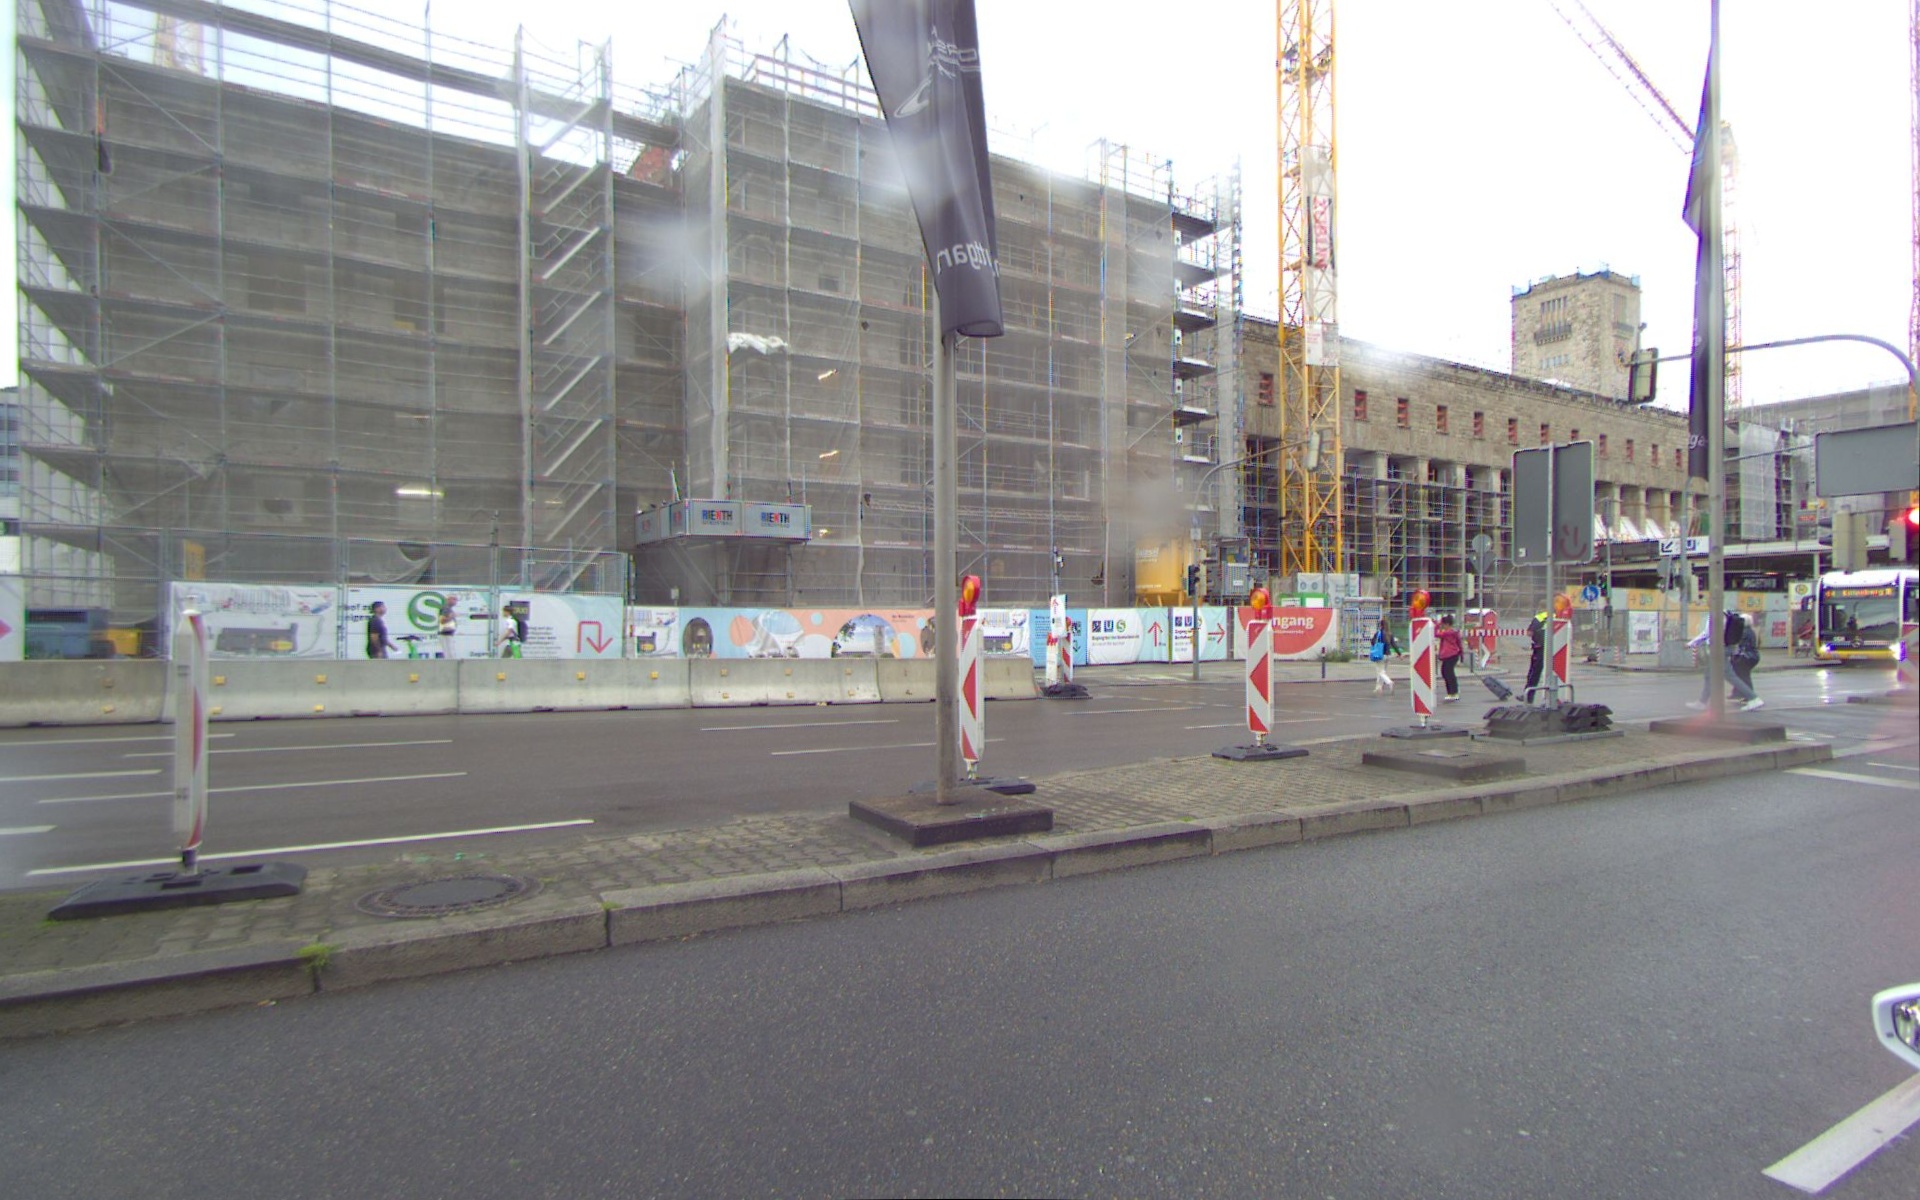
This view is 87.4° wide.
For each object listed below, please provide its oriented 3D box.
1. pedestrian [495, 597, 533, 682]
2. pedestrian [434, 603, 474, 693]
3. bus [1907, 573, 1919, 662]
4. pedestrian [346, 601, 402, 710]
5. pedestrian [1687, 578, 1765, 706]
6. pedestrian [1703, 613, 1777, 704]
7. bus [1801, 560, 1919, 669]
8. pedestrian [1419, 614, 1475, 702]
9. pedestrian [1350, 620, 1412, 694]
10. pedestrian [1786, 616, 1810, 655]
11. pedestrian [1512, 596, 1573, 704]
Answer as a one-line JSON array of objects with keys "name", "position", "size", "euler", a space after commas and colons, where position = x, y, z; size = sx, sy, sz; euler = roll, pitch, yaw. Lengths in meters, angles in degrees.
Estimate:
[{"name": "pedestrian", "position": [-10.032, 0.880, 22.588], "size": [0.709, 1.860, 0.478], "euler": [1, 0, -30]}, {"name": "pedestrian", "position": [-10.709, 1.005, 21.250], "size": [0.709, 1.860, 0.478], "euler": [1, 0, -30]}, {"name": "bus", "position": [44.040, 0.859, 42.759], "size": [10.092, 3.650, 2.655], "euler": [2, 0, -30]}, {"name": "pedestrian", "position": [-10.345, 0.967, 17.750], "size": [0.810, 1.860, 0.575], "euler": [1, 0, -30]}, {"name": "pedestrian", "position": [11.881, 0.632, 15.583], "size": [0.614, 1.915, 0.793], "euler": [1, 0, -38]}, {"name": "pedestrian", "position": [14.207, 1.048, 18.293], "size": [0.780, 1.581, 0.866], "euler": [1, 0, -37]}, {"name": "bus", "position": [35.383, 0.603, 37.626], "size": [10.119, 3.650, 2.655], "euler": [2, 0, -30]}, {"name": "pedestrian", "position": [9.860, 1.171, 20.349], "size": [0.613, 1.740, 0.794], "euler": [1, -2, -33]}, {"name": "pedestrian", "position": [9.330, 1.246, 22.275], "size": [0.890, 1.584, 0.909], "euler": [1, 0, -33]}, {"name": "pedestrian", "position": [39.978, 1.686, 47.904], "size": [0.789, 1.879, 0.658], "euler": [1, -1, -30]}, {"name": "pedestrian", "position": [10.335, 0.877, 17.814], "size": [0.810, 1.860, 0.575], "euler": [1, 0, -30]}]
